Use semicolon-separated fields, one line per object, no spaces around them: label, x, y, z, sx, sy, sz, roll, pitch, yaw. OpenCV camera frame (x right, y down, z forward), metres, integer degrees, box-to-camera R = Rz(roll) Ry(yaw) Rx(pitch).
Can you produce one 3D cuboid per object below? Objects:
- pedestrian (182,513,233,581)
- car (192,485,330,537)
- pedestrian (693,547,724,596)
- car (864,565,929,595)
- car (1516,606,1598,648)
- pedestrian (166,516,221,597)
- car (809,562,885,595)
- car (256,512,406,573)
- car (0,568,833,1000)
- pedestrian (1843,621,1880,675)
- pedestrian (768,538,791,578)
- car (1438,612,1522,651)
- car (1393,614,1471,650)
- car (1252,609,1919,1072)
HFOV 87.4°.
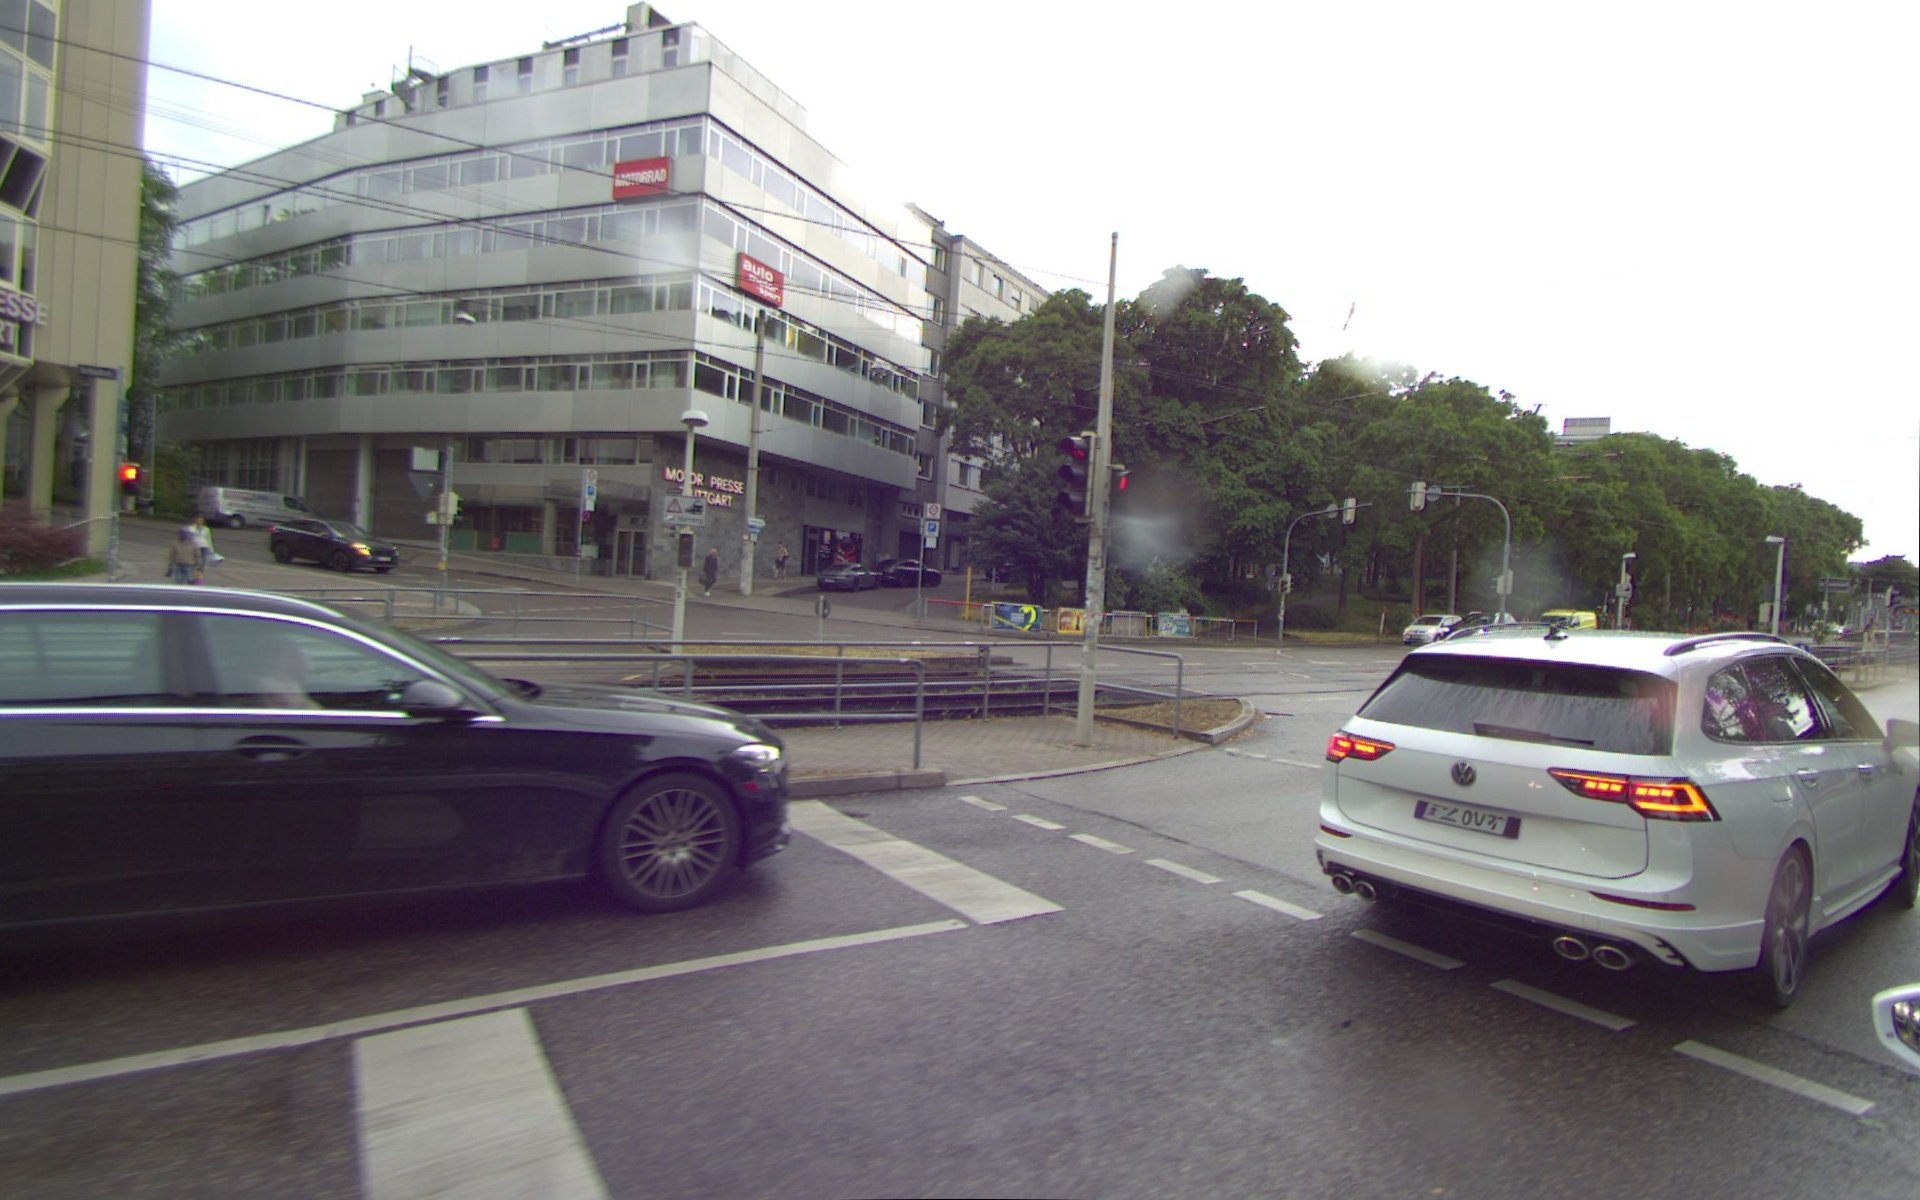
pedestrian;-19.286;-1.343;25.756;0.746;1.660;0.719;5;2;25
car;-35.380;-4.469;51.030;1.964;2.040;5.403;2;-1;30
pedestrian;-10.094;-1.144;40.310;0.833;1.885;0.719;5;2;25
car;-3.333;-1.045;53.652;1.842;1.450;3.998;3;1;22
car;29.537;1.350;49.664;4.526;1.875;1.905;3;0;-38
pedestrian;-17.940;-1.011;23.532;0.820;1.810;0.755;3;2;-26
car;-5.415;-1.027;48.674;1.842;1.450;4.091;3;1;22
car;-22.143;-2.013;35.358;4.794;1.601;1.999;7;3;23
car;-2.986;0.645;4.576;4.423;1.461;1.787;2;-1;-31
pedestrian;31.933;1.686;35.572;0.860;1.826;0.863;4;2;43
pedestrian;-8.861;-2.049;49.260;0.706;1.886;0.759;5;4;27
car;23.015;1.405;44.421;3.648;1.566;1.905;3;0;-38
car;22.702;1.551;48.279;3.648;1.566;1.905;3;0;-38
car;3.657;0.883;5.322;4.436;1.461;1.782;3;-1;-38
